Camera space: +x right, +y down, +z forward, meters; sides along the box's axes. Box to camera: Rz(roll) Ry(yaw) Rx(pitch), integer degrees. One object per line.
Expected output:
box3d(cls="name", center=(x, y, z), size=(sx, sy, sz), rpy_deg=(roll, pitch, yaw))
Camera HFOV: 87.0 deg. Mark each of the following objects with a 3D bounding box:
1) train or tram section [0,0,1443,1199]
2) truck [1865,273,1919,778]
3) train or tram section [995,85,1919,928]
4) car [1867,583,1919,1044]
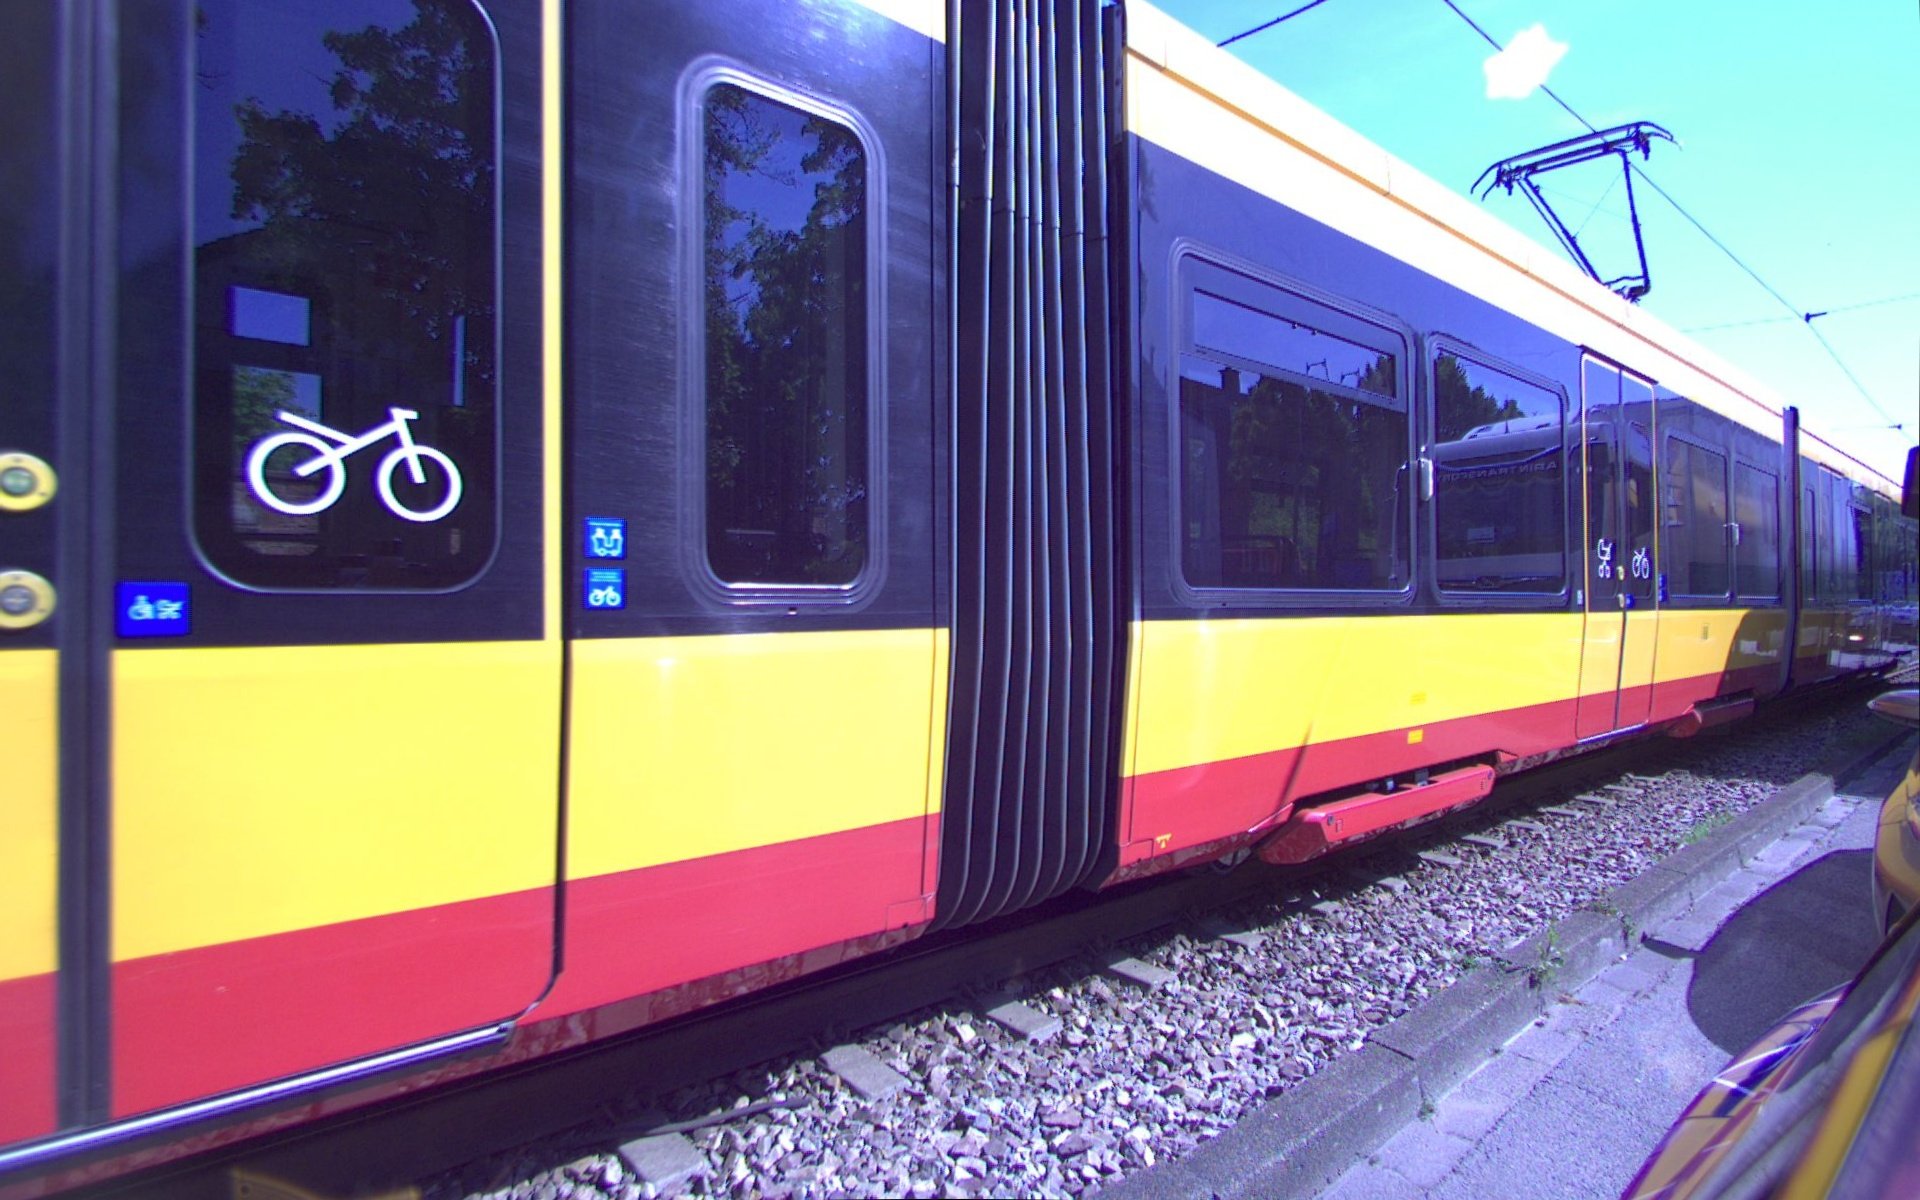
box3d(cls="train or tram section", center=(-4.397, -0.370, 0.635), size=(15.038, 3.698, 2.674), rpy_deg=(-1, 0, -41))
box3d(cls="truck", center=(14.014, -0.675, 11.823), size=(14.037, 4.121, 3.388), rpy_deg=(-1, 0, -41))
box3d(cls="train or tram section", center=(8.096, -0.512, 11.605), size=(18.629, 3.698, 2.677), rpy_deg=(-1, 0, -41))
box3d(cls="car", center=(5.020, 0.685, 3.955), size=(3.960, 1.465, 1.718), rpy_deg=(0, 1, -41))
